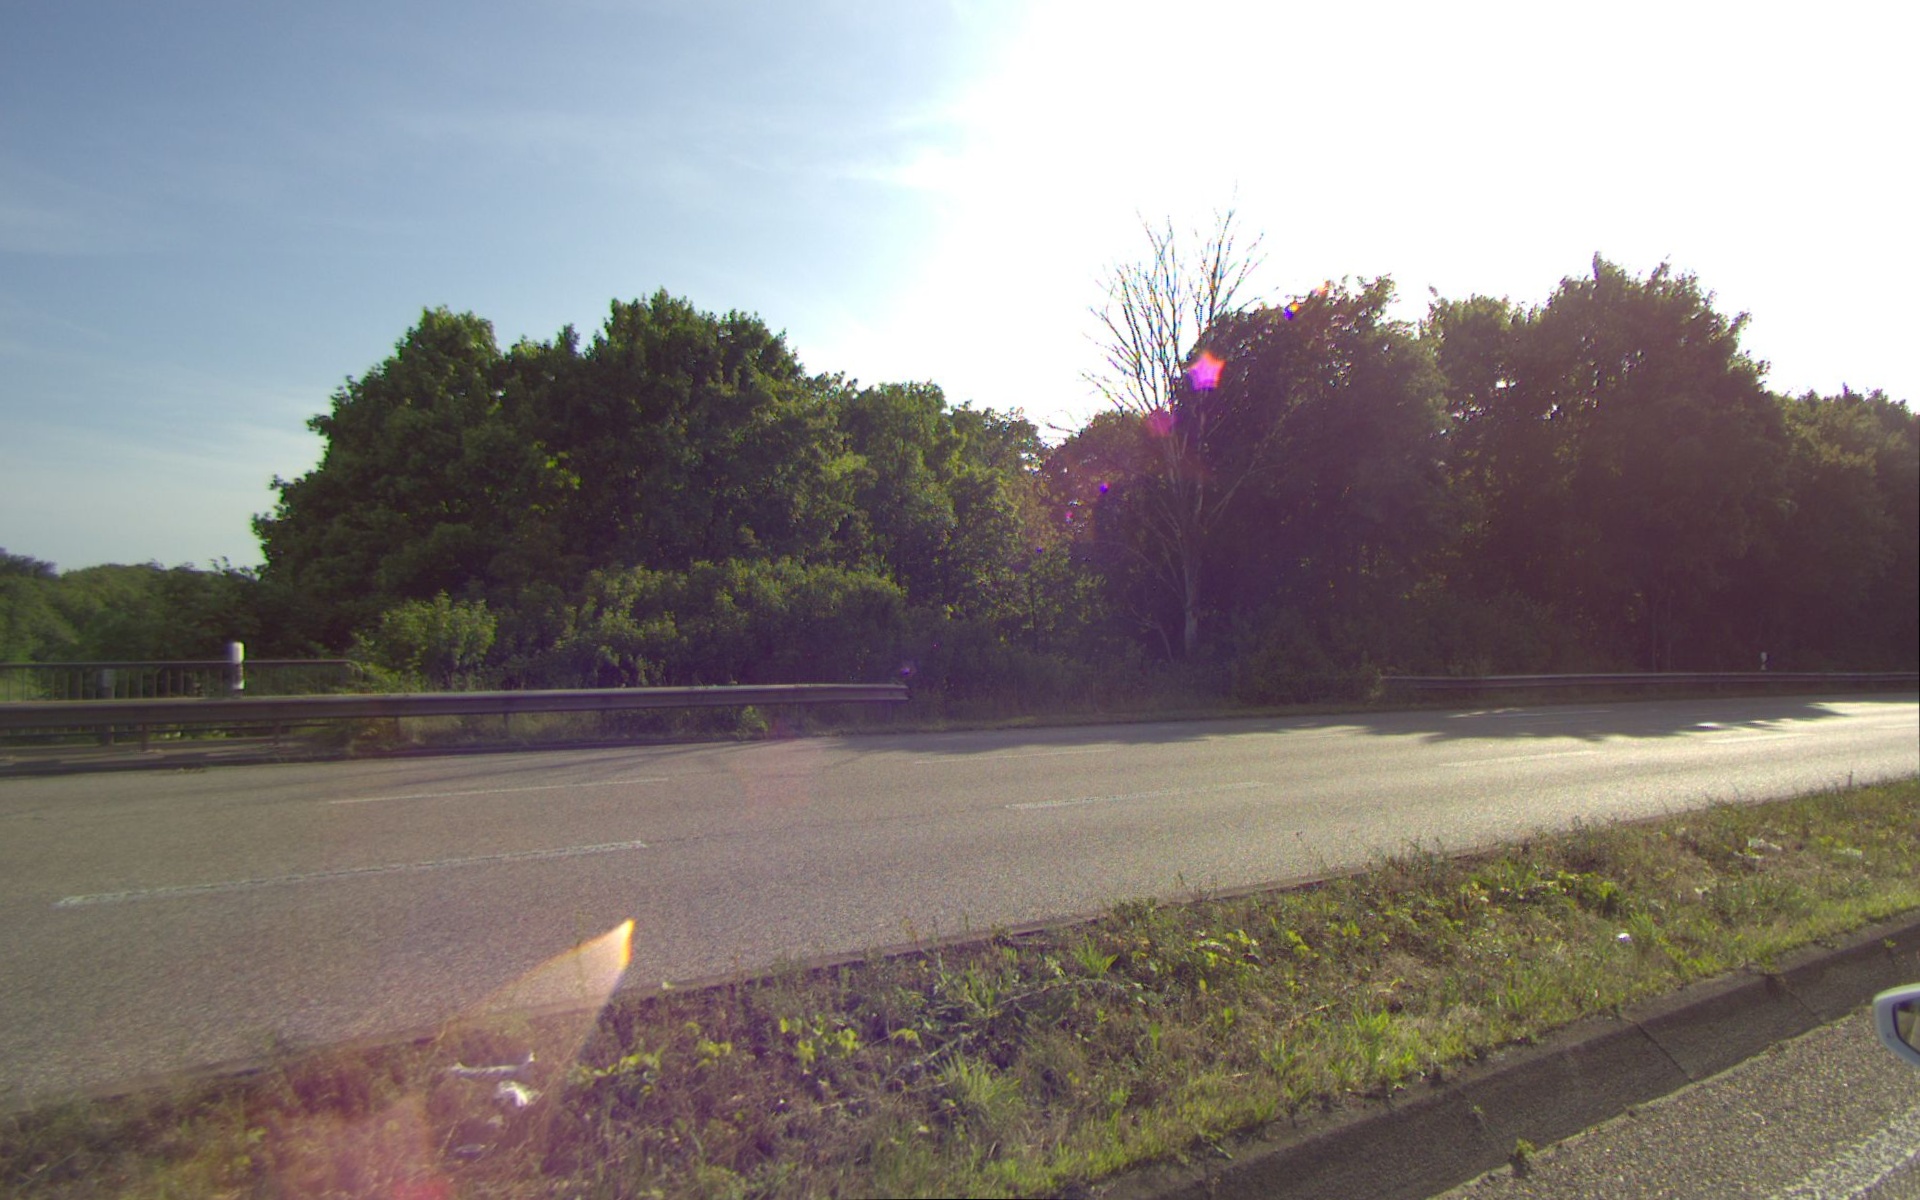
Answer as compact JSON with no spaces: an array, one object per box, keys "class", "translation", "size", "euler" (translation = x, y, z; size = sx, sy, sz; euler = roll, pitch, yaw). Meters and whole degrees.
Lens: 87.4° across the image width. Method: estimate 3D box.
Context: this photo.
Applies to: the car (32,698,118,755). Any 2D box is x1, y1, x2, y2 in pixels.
[{"class":"car","translation":[-53.538,7.734,60.943],"size":[2.734,3.156,6.266],"euler":[2,-9,-32]}]
